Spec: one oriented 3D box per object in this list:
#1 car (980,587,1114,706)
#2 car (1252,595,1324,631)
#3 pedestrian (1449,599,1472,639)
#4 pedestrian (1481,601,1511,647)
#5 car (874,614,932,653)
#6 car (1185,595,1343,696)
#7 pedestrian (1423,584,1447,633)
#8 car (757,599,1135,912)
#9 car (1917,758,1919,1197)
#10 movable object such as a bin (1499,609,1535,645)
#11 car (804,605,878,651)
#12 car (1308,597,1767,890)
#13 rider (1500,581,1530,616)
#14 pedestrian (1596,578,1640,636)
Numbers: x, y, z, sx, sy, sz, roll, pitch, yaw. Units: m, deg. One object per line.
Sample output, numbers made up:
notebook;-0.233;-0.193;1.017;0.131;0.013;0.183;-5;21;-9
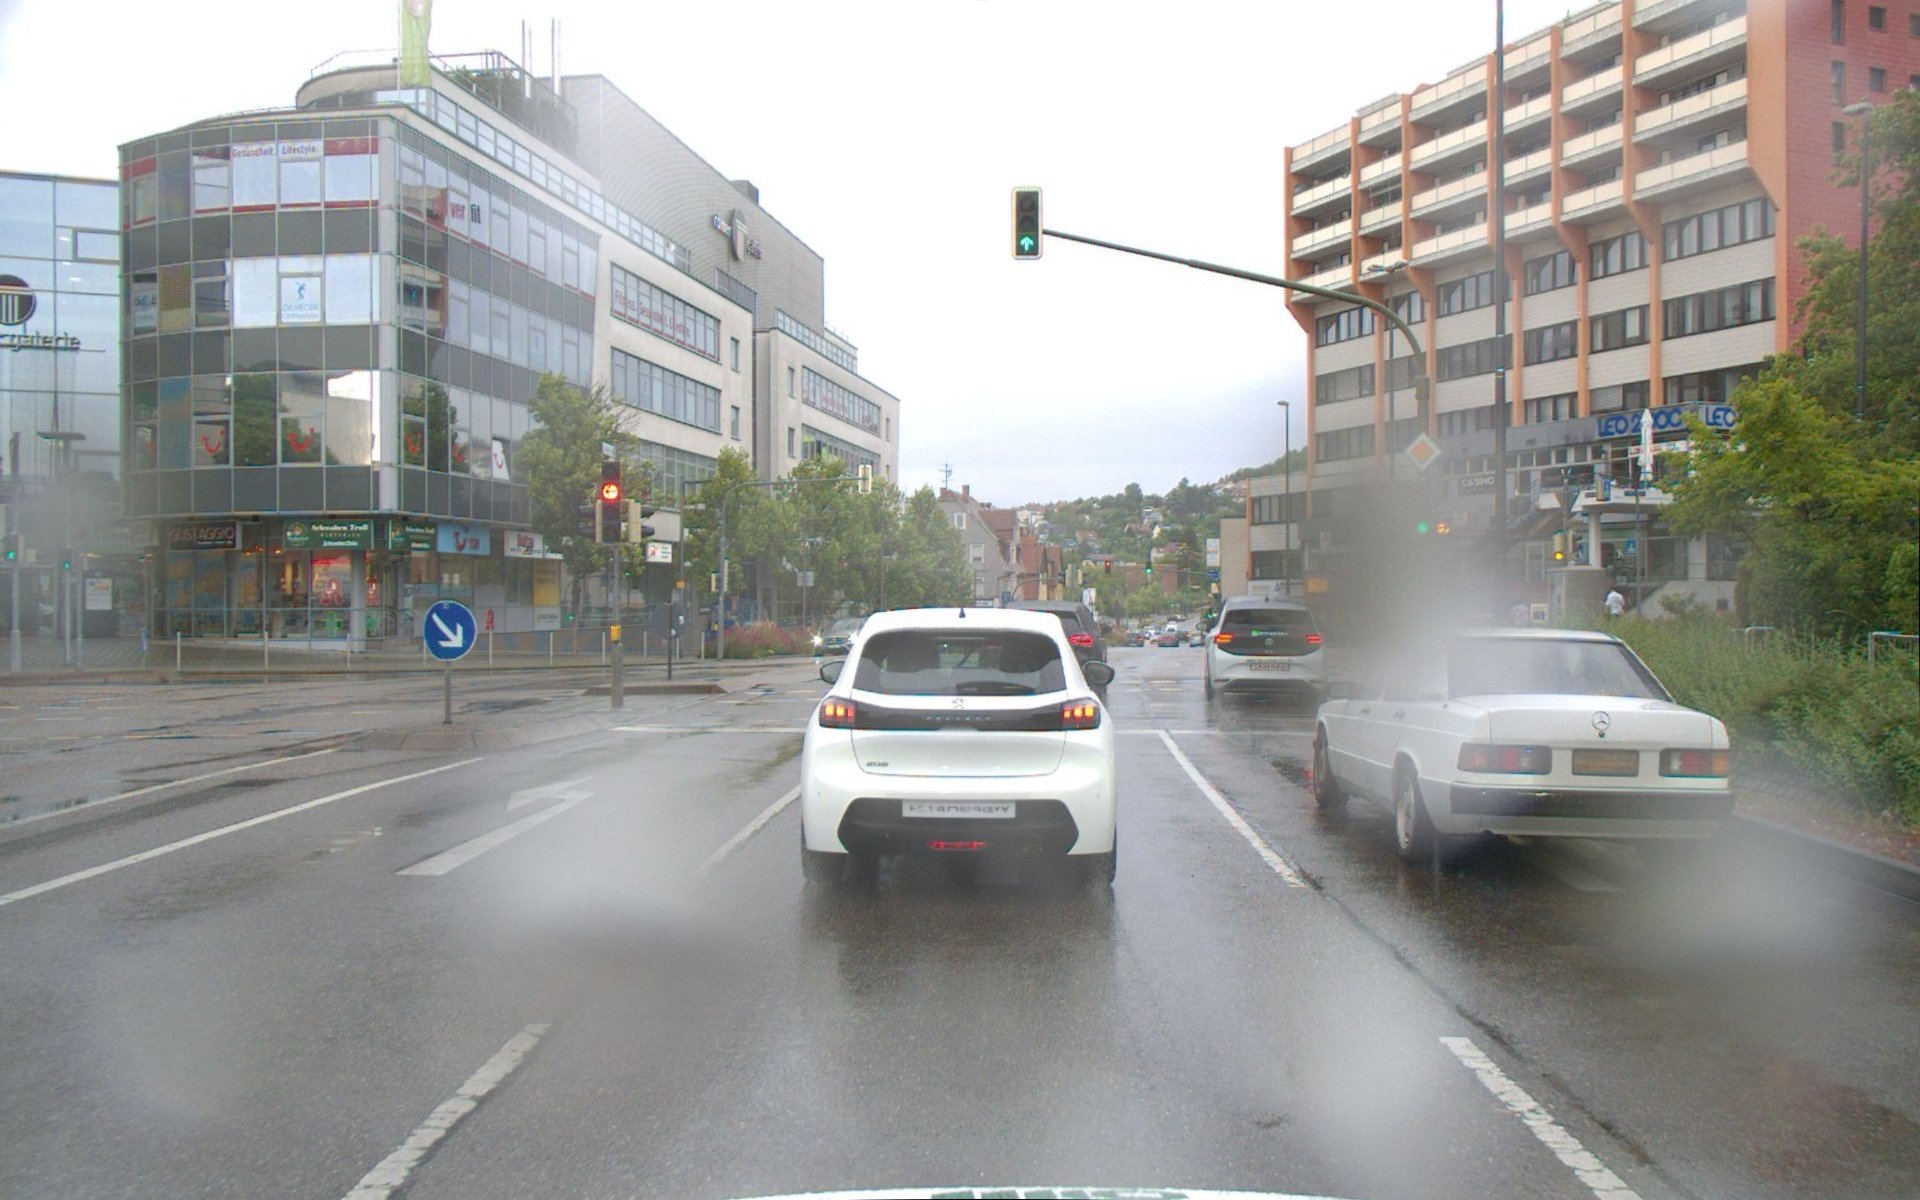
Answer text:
car;1.294;0.618;24.459;1.777;1.556;3.814;2;1;3
car;21.410;0.863;108.142;1.970;2.265;4.932;-1;-1;-27
pedestrian;17.188;0.658;56.805;0.692;1.369;0.656;-1;-1;12
pedestrian;19.850;0.888;61.233;0.778;1.698;0.930;-1;0;-2
car;-2.653;1.566;77.730;1.736;1.621;4.591;-4;-1;9
car;4.523;0.655;25.073;1.872;1.425;3.458;0;0;2
pedestrian;16.251;0.288;56.590;0.692;1.635;0.656;2;0;14
car;0.092;0.748;9.975;1.832;1.488;3.875;1;0;5
car;3.367;0.694;2.027;1.862;1.649;4.335;1;0;0
movable object such as a bin;22.046;1.062;65.446;1.106;1.355;1.456;1;1;9
car;-4.542;1.049;63.843;1.879;1.660;4.906;1;0;7
car;3.429;0.766;10.673;1.600;1.474;4.269;1;-1;2
rider;21.950;-0.049;65.408;0.902;1.307;1.091;-3;0;8
pedestrian;19.745;0.213;49.674;0.812;1.720;1.128;-1;0;-3
